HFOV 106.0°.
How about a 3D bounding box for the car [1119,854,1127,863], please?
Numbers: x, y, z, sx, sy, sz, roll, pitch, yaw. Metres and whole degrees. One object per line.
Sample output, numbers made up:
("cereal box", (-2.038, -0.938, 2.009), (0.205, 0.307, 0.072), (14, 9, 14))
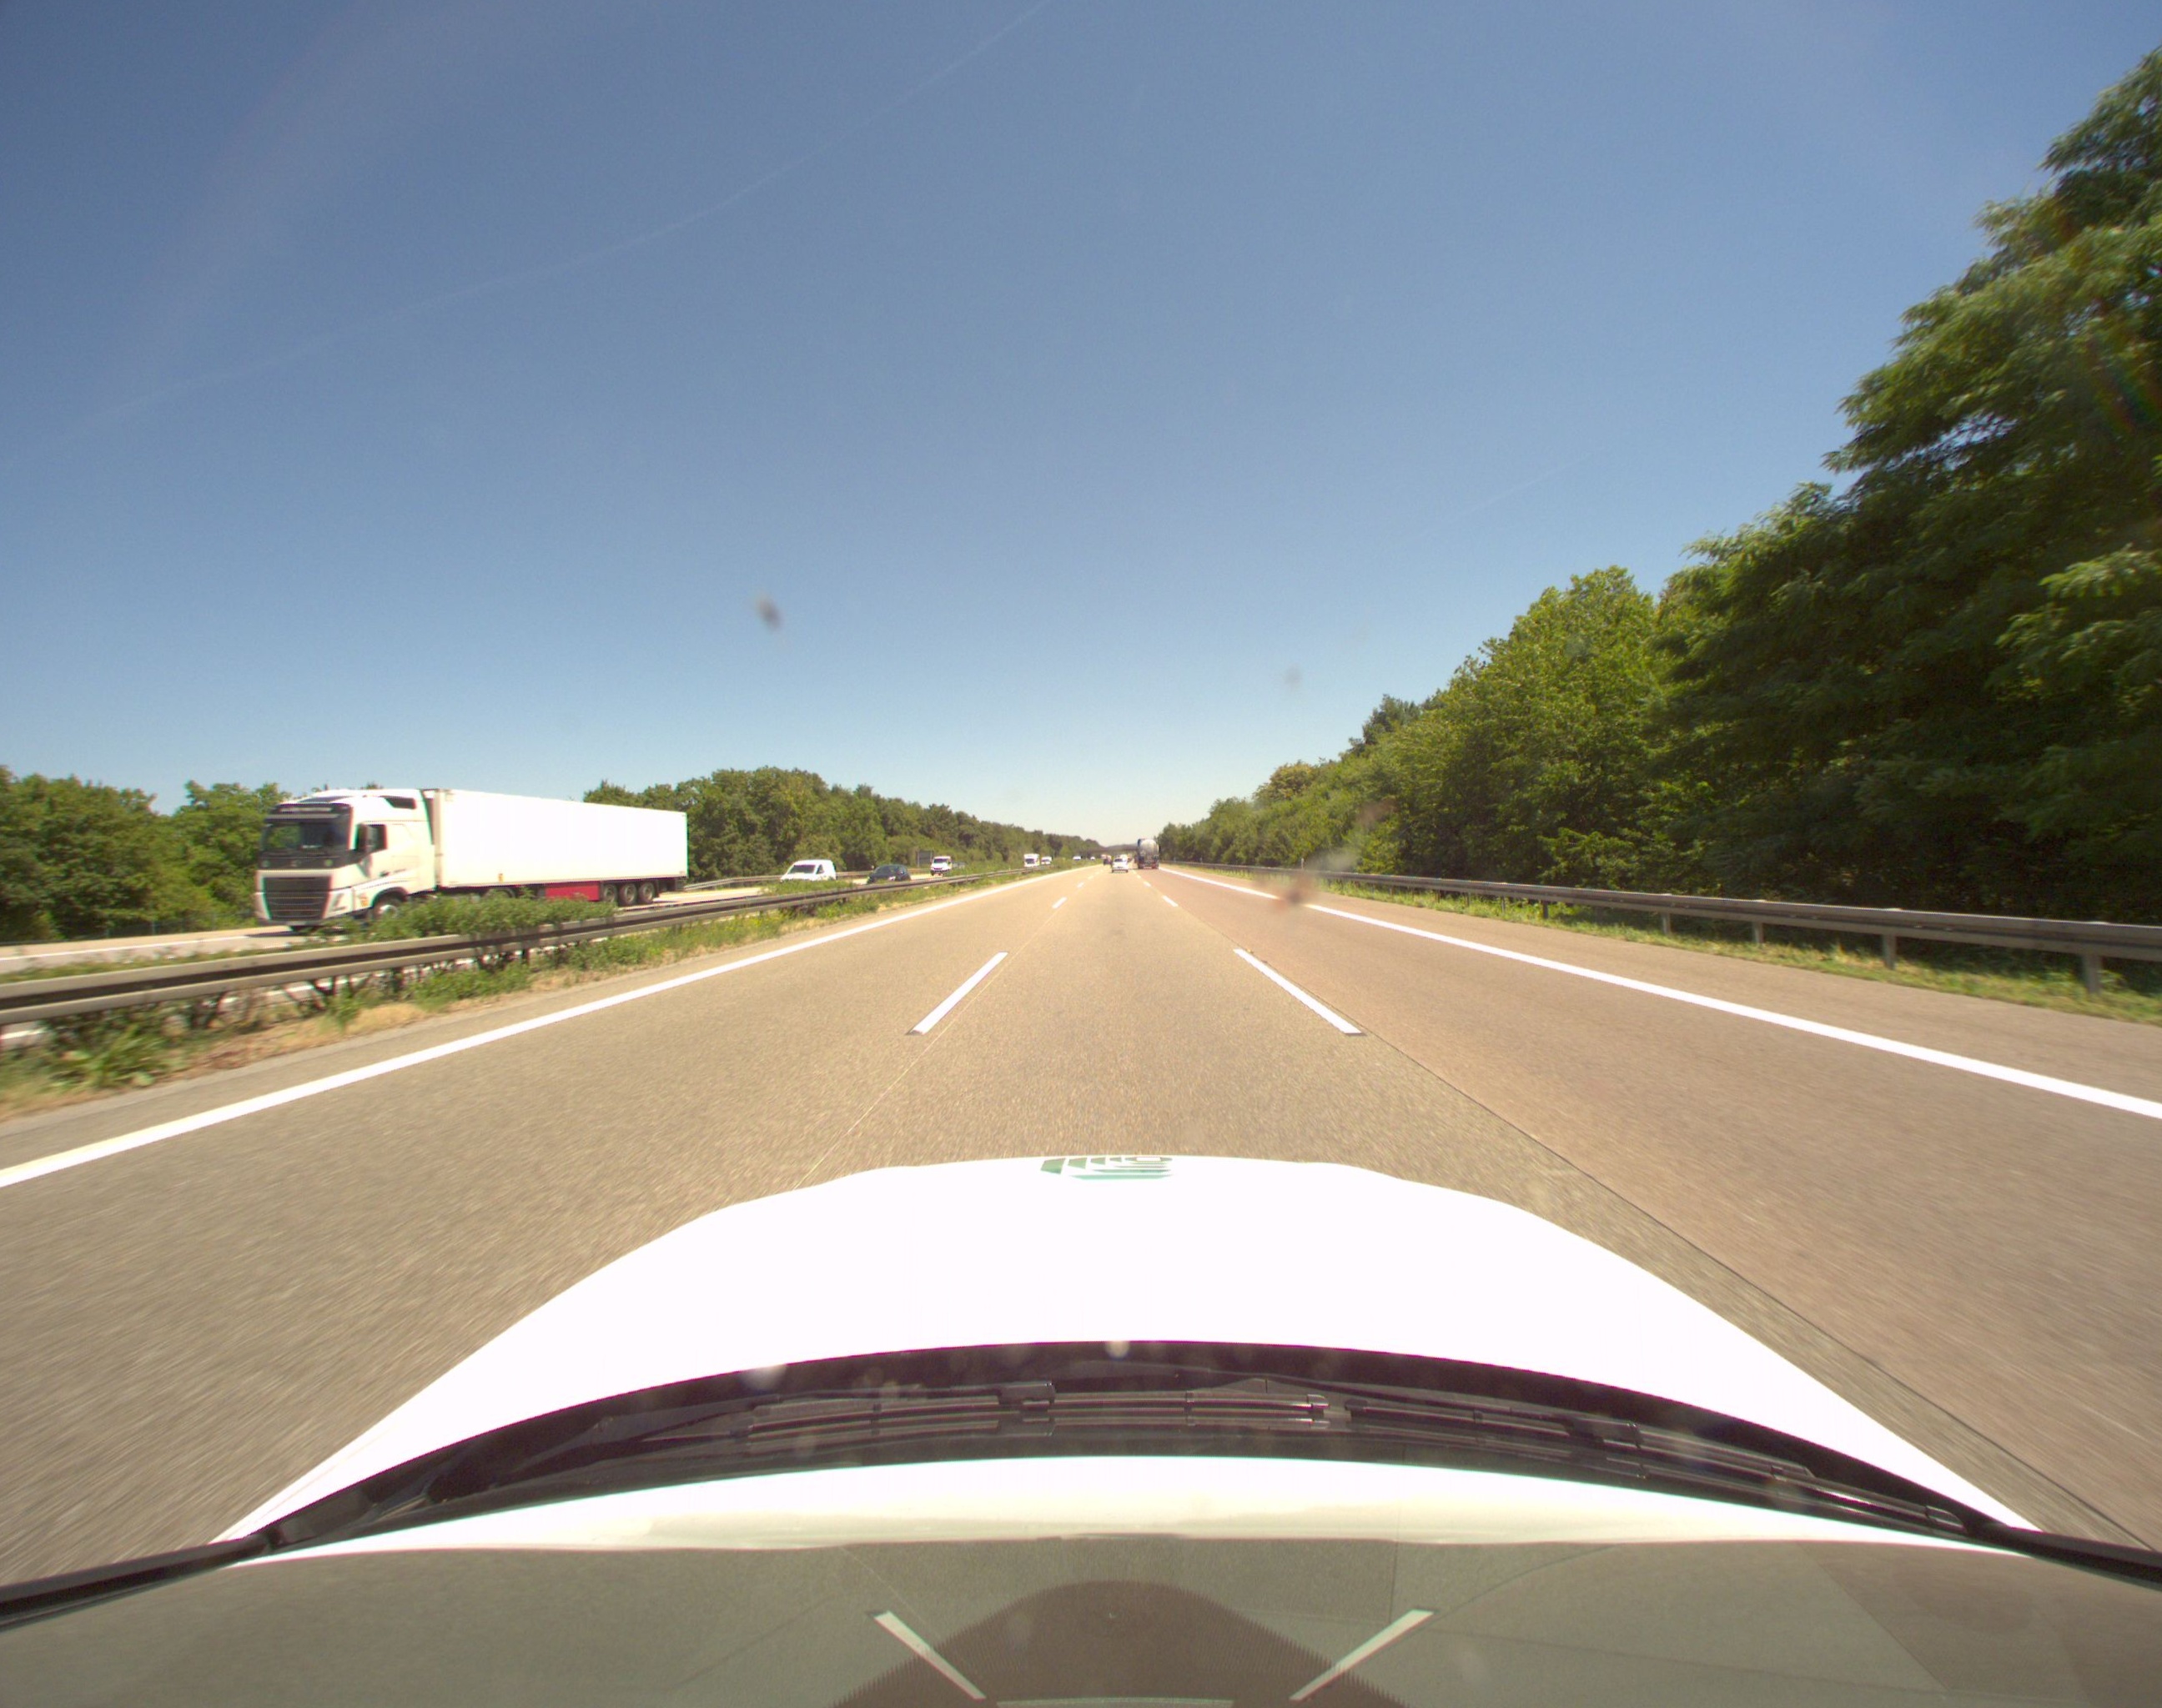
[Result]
("car", (10.865, 1.180, 210.941), (1.984, 2.343, 4.392), (-1, 0, 4))

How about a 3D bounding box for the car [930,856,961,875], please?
("car", (-16.162, 1.321, 97.262), (2.235, 2.172, 6.546), (-1, 0, 3))

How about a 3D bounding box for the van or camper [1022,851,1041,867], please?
("van or camper", (-9.303, 0.984, 154.602), (2.502, 2.849, 8.034), (-1, 0, 4))

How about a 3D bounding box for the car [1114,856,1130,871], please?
("car", (4.238, 0.999, 84.764), (1.621, 1.479, 4.002), (-1, 0, 2))

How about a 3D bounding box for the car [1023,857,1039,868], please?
("car", (-7.729, 1.322, 125.893), (1.805, 1.596, 5.013), (-1, 0, 2))

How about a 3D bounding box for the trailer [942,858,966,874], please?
("trailer", (-16.231, 1.502, 104.022), (2.020, 1.836, 4.993), (-1, 0, 2))

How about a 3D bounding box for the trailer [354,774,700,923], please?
("trailer", (-19.691, -0.153, 31.041), (3.298, 4.362, 13.597), (-1, 0, 3))

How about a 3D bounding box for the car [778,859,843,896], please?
("car", (-14.773, 1.241, 44.736), (1.808, 1.876, 4.879), (-1, 0, 1))

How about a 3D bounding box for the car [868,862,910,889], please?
("car", (-10.701, 1.186, 45.640), (1.368, 1.427, 3.457), (-1, 0, 2))

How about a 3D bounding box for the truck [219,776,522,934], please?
("truck", (-20.034, 0.051, 23.595), (3.247, 3.951, 6.105), (-1, 0, 3))

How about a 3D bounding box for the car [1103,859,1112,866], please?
("car", (6.550, 1.989, 198.500), (1.985, 1.725, 4.790), (-1, 0, 3))

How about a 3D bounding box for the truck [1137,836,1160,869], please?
("truck", (8.983, -0.156, 109.456), (2.727, 4.052, 10.463), (-1, 0, 3))
